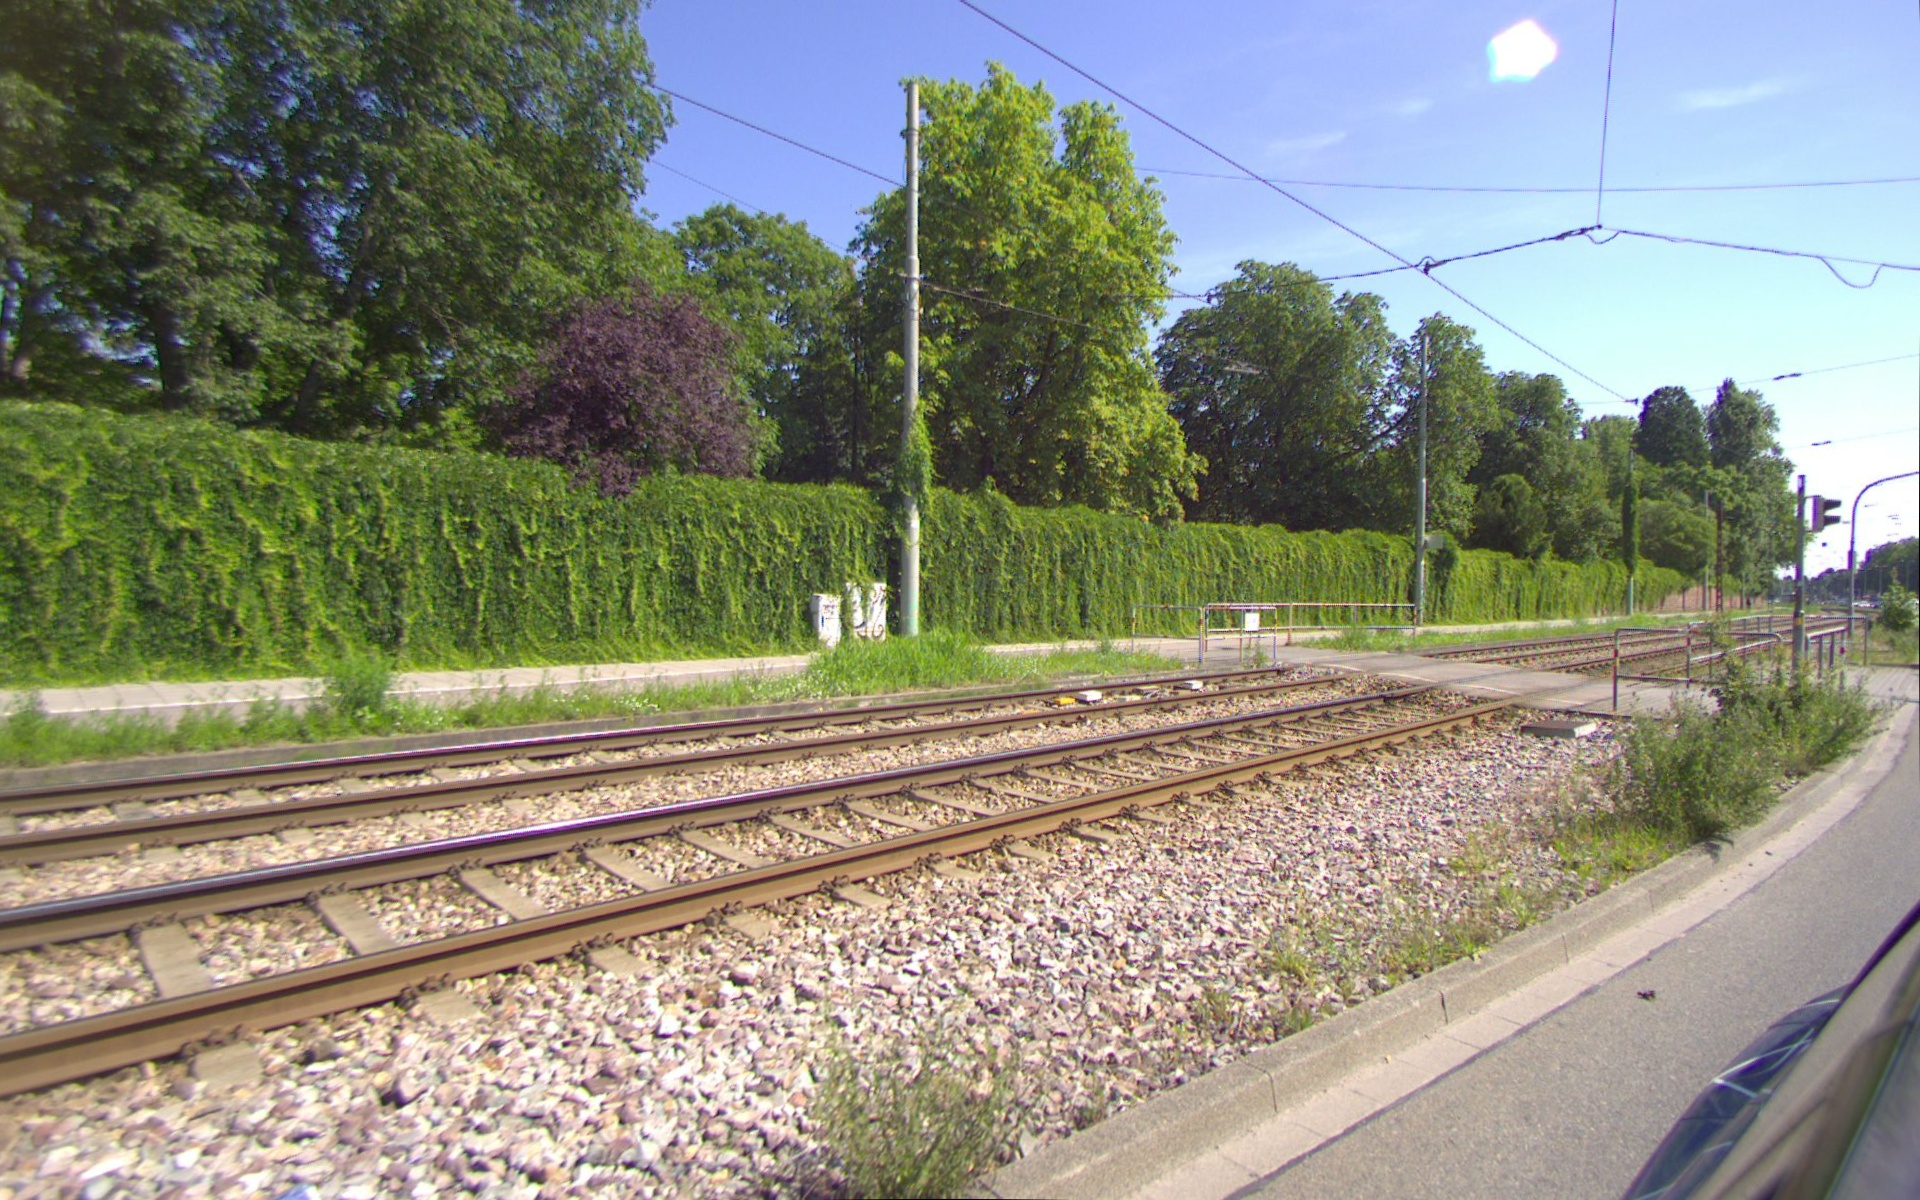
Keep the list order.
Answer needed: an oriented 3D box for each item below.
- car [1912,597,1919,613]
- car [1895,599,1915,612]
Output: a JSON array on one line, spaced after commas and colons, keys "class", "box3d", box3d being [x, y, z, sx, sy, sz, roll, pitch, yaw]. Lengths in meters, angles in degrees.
[{"class": "car", "box3d": [101.484, 0.545, 106.449, 1.925, 1.623, 4.400, 0, 1, 42]}, {"class": "car", "box3d": [129.296, 0.754, 138.555, 1.925, 1.623, 4.400, 0, 1, 42]}]
